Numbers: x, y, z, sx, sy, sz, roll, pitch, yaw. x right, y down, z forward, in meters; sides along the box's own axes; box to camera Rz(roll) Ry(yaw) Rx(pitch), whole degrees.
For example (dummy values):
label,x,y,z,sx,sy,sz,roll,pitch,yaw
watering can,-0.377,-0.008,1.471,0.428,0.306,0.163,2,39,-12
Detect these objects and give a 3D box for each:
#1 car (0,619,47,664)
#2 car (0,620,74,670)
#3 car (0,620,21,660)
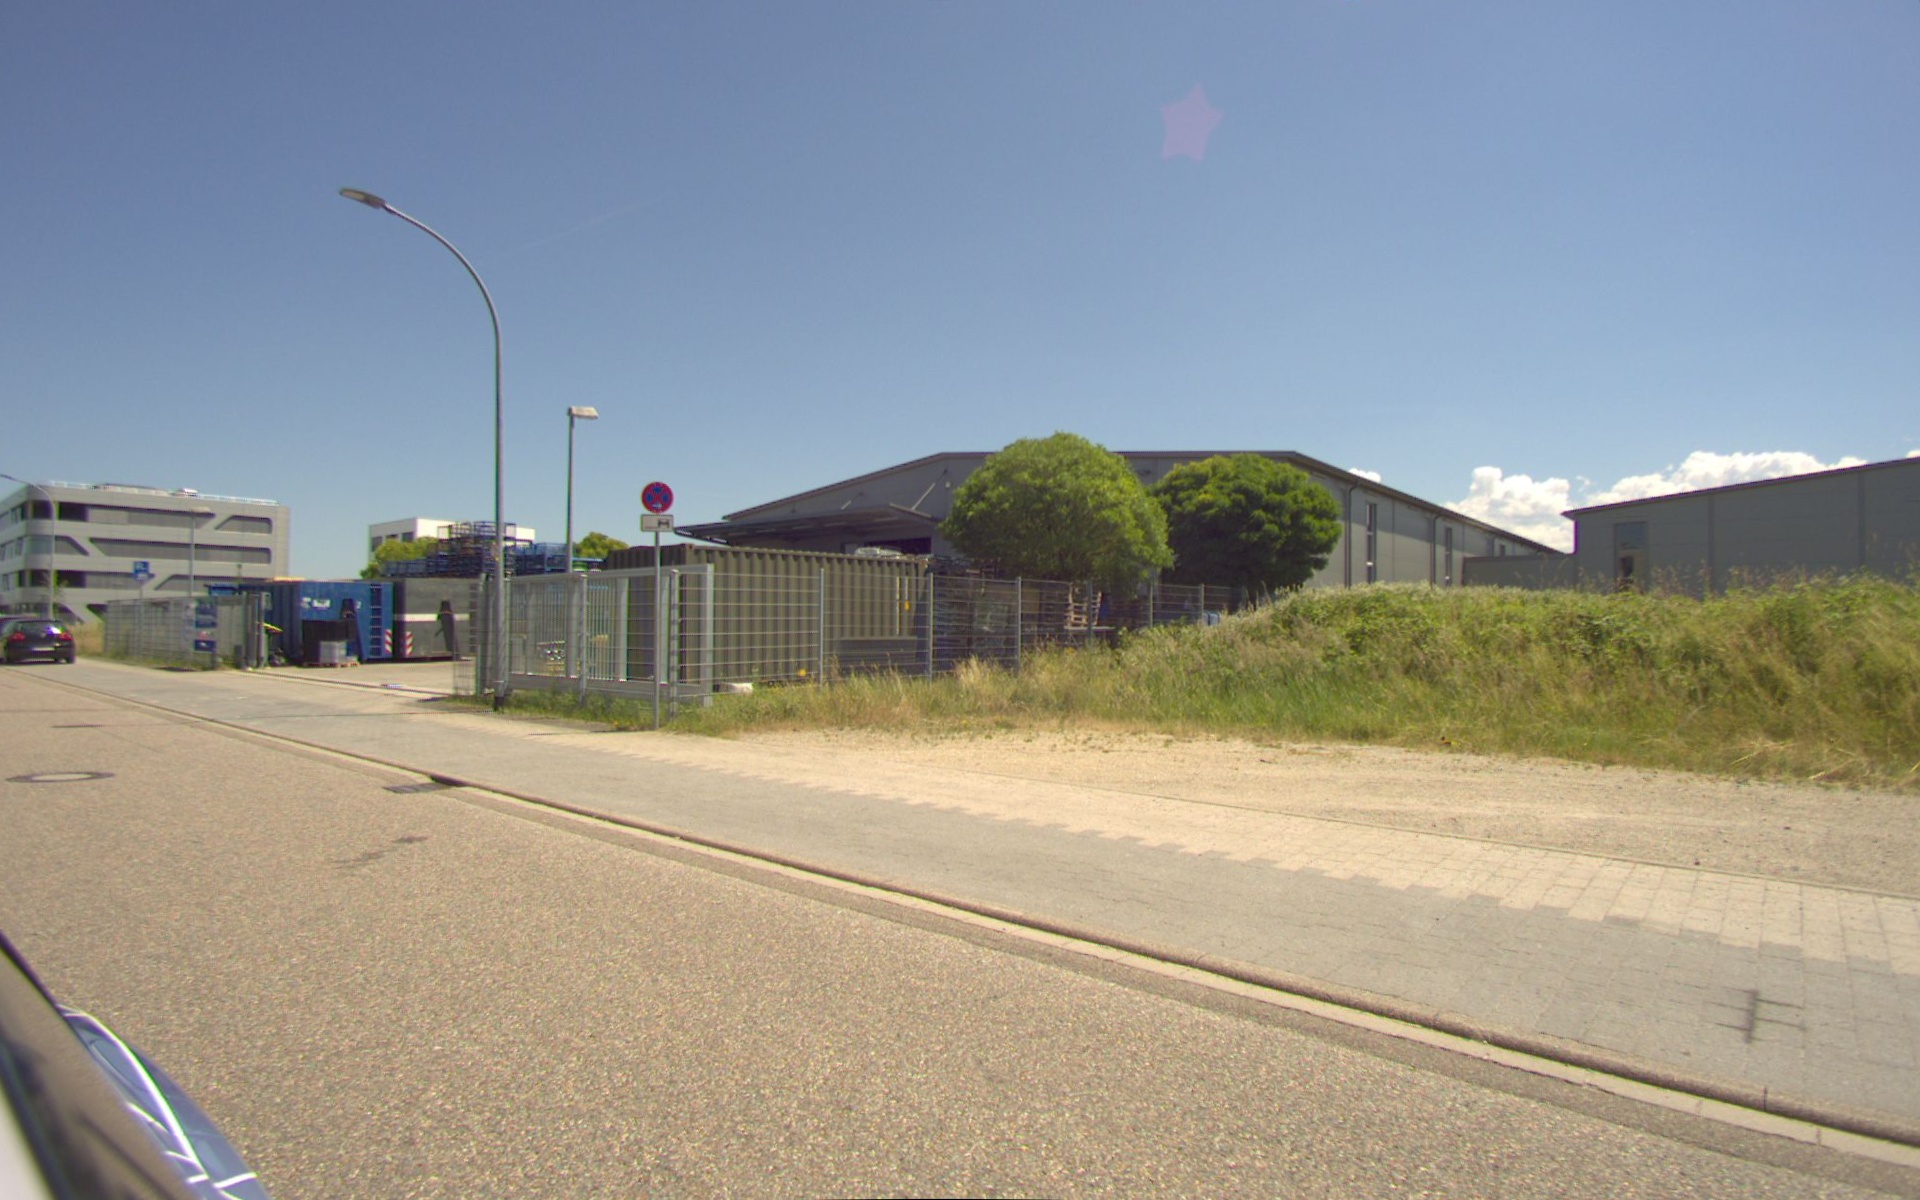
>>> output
label,x,y,z,sx,sy,sz,roll,pitch,yaw
car,-34.775,1.500,36.908,3.776,1.541,1.749,-1,0,41
car,-30.270,1.409,32.937,3.659,1.501,1.673,-1,0,41
car,-38.780,1.582,40.245,3.776,1.541,1.749,-1,0,41
